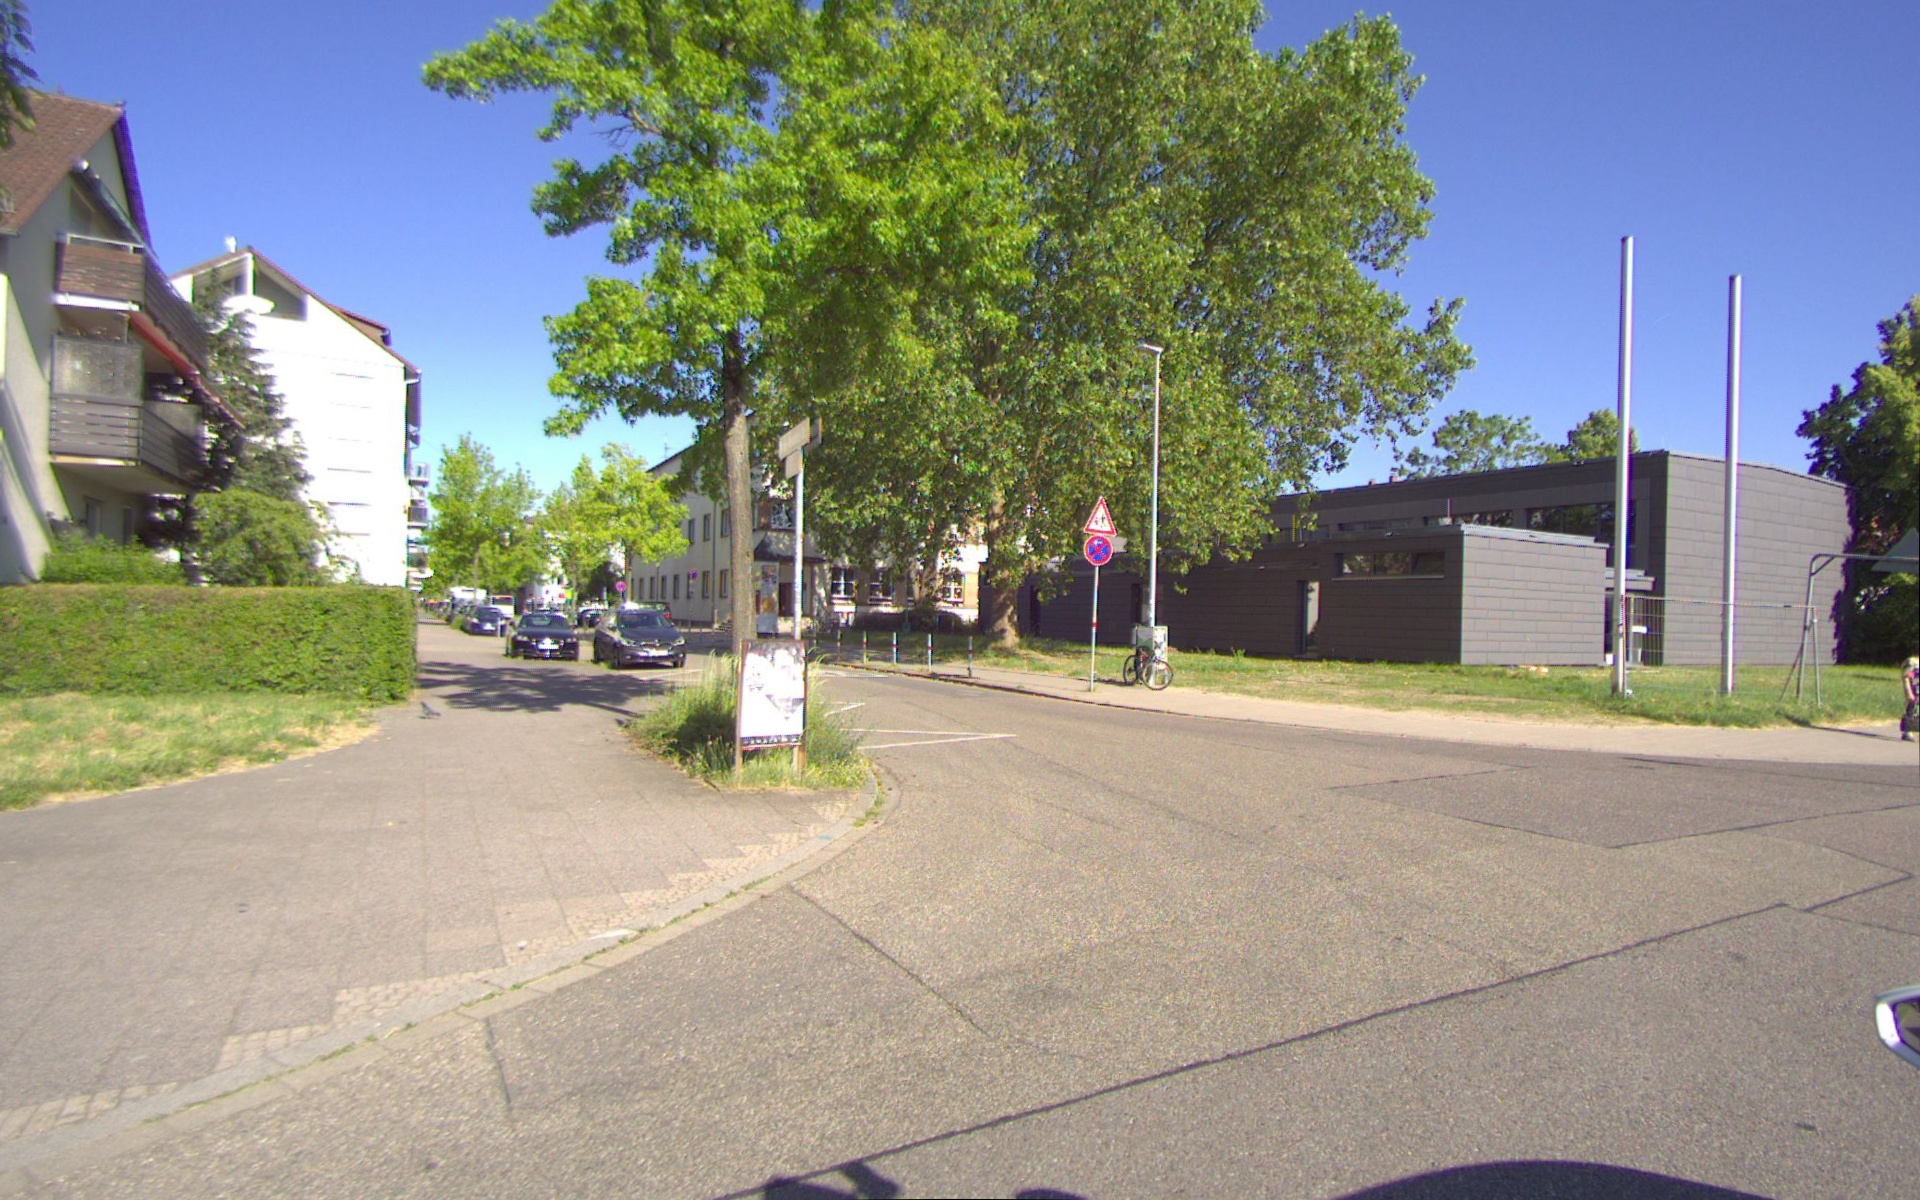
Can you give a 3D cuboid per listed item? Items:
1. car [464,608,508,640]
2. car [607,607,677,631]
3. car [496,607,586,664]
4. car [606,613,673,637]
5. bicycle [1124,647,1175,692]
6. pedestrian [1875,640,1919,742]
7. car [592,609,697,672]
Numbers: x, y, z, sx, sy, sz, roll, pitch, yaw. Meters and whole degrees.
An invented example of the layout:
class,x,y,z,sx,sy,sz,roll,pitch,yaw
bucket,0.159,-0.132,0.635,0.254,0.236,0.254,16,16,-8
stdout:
class,x,y,z,sx,sy,sz,roll,pitch,yaw
car,-24.529,1.230,52.116,1.929,1.568,3.708,0,-1,-23
car,-21.597,1.262,68.290,4.396,1.568,1.946,1,0,-23
car,-12.341,1.004,29.478,1.934,1.568,3.698,0,-1,-31
car,-22.561,1.754,70.689,4.396,1.568,1.946,1,0,-23
bicycle,3.931,1.430,20.835,0.999,0.899,0.440,-1,-1,17
pedestrian,14.389,1.373,15.136,0.626,1.465,0.511,3,2,4
car,-8.619,1.048,27.230,1.934,1.568,3.698,0,-1,-31
